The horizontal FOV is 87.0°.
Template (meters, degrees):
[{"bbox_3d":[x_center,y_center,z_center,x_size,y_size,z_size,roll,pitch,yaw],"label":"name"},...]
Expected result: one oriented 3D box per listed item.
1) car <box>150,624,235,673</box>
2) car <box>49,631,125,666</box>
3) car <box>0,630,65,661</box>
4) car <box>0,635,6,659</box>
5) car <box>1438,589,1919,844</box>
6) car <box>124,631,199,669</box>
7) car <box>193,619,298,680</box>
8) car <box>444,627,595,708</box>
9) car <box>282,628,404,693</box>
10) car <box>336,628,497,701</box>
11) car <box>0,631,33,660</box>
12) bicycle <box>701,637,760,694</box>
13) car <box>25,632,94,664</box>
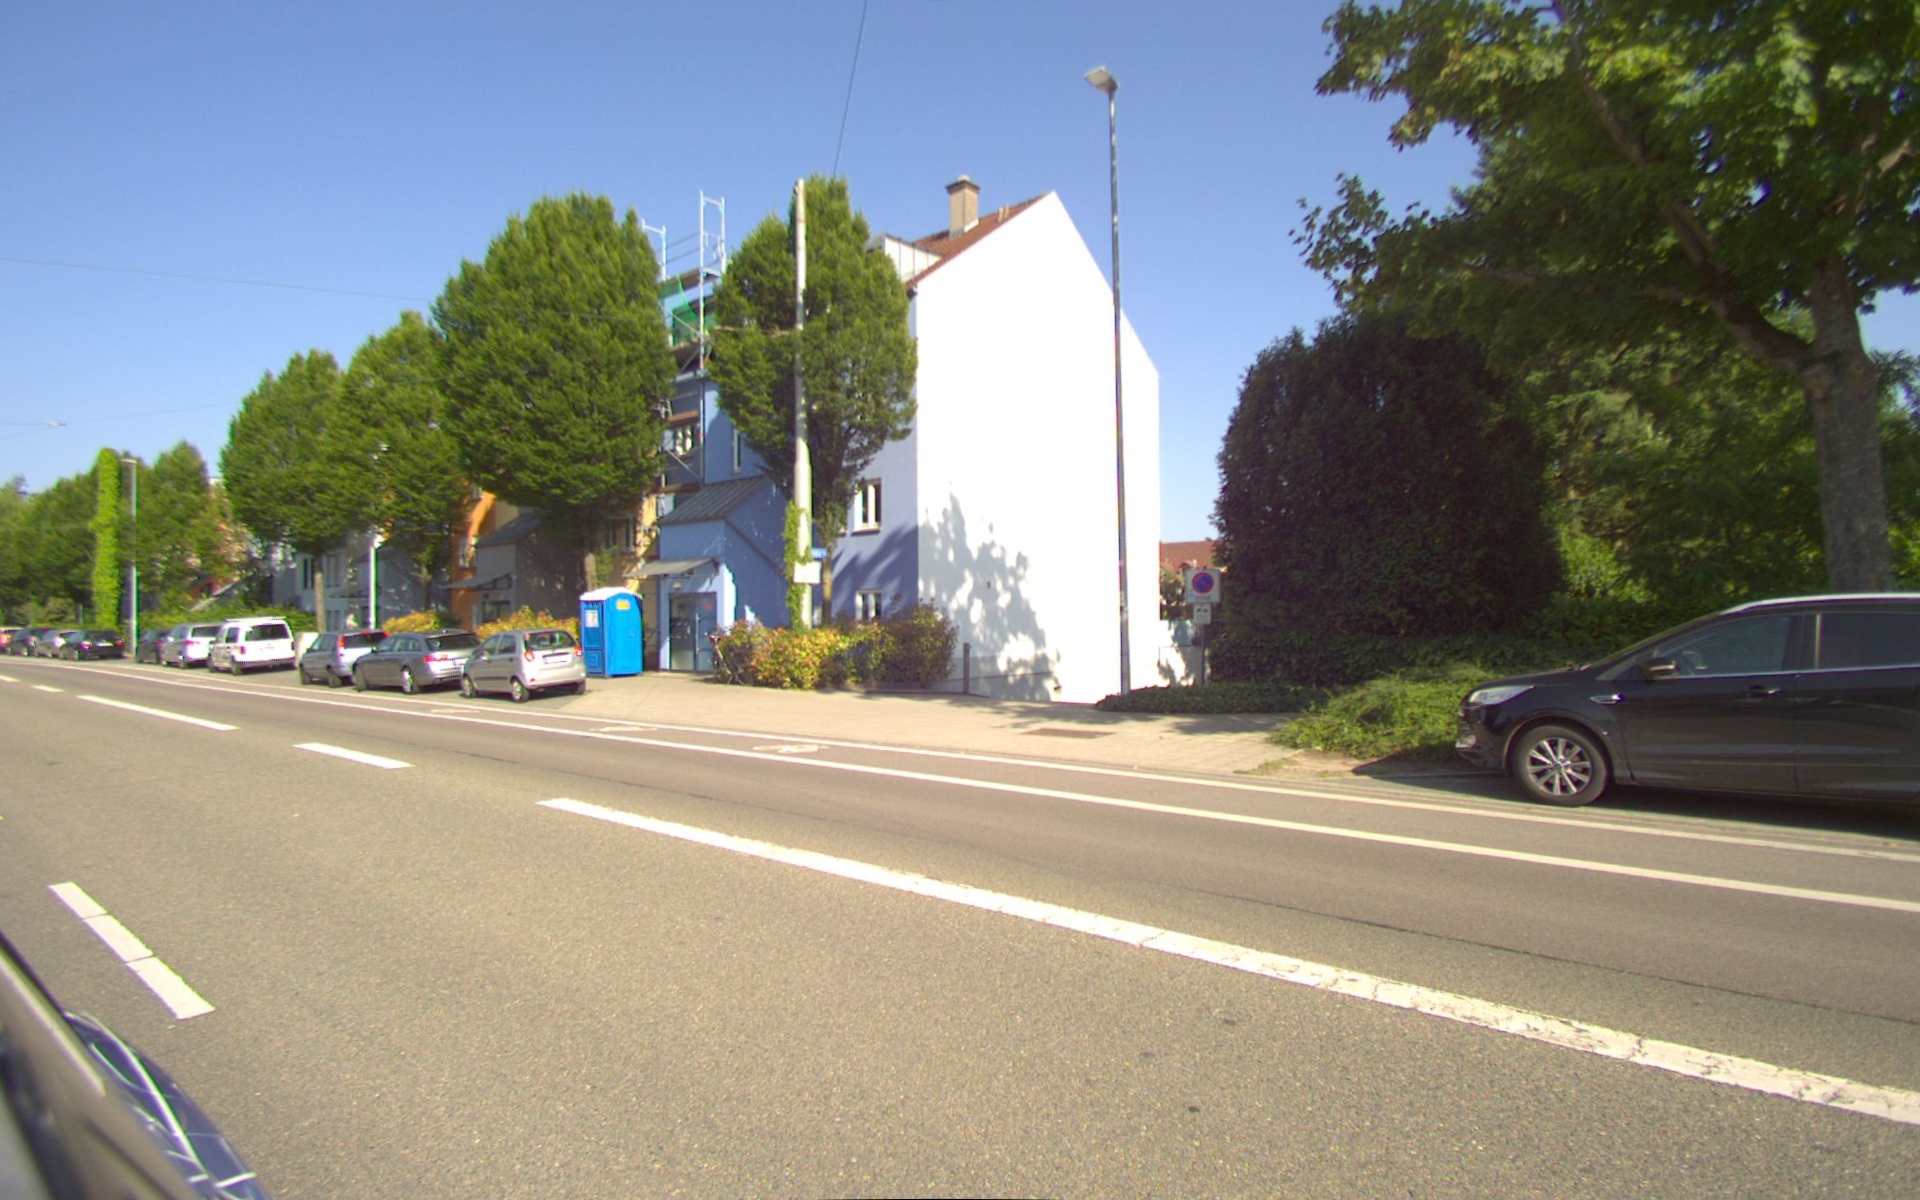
[{"bbox_3d":[-29.899,1.847,39.372,4.821,1.713,1.651,-2,0,41],"label":"car"},{"bbox_3d":[-42.965,2.339,49.778,4.901,1.556,1.849,-2,1,37],"label":"car"},{"bbox_3d":[-51.962,2.524,56.495,4.420,1.586,1.750,-1,0,31],"label":"car"},{"bbox_3d":[-61.134,2.923,62.910,4.700,1.435,1.638,-2,-2,34],"label":"car"},{"bbox_3d":[6.380,0.807,7.966,4.420,1.707,1.694,-2,-2,41],"label":"car"},{"bbox_3d":[-33.916,2.074,42.956,4.053,1.477,1.600,-2,0,39],"label":"car"},{"bbox_3d":[-25.064,1.701,35.459,4.575,1.859,1.746,-2,3,39],"label":"car"},{"bbox_3d":[-9.700,1.412,22.181,3.506,1.505,1.585,-2,3,40],"label":"car"},{"bbox_3d":[-17.538,1.651,28.707,3.979,1.550,1.745,-1,3,41],"label":"car"},{"bbox_3d":[-13.668,1.557,25.342,4.749,1.522,1.732,-2,3,38],"label":"car"},{"bbox_3d":[-56.717,2.682,59.944,4.151,1.586,1.748,-1,-1,34],"label":"car"},{"bbox_3d":[-5.061,1.413,22.215,0.438,1.163,1.786,1,-1,-42],"label":"bicycle"},{"bbox_3d":[-47.572,2.485,53.425,4.834,1.482,1.697,0,1,36],"label":"car"}]
